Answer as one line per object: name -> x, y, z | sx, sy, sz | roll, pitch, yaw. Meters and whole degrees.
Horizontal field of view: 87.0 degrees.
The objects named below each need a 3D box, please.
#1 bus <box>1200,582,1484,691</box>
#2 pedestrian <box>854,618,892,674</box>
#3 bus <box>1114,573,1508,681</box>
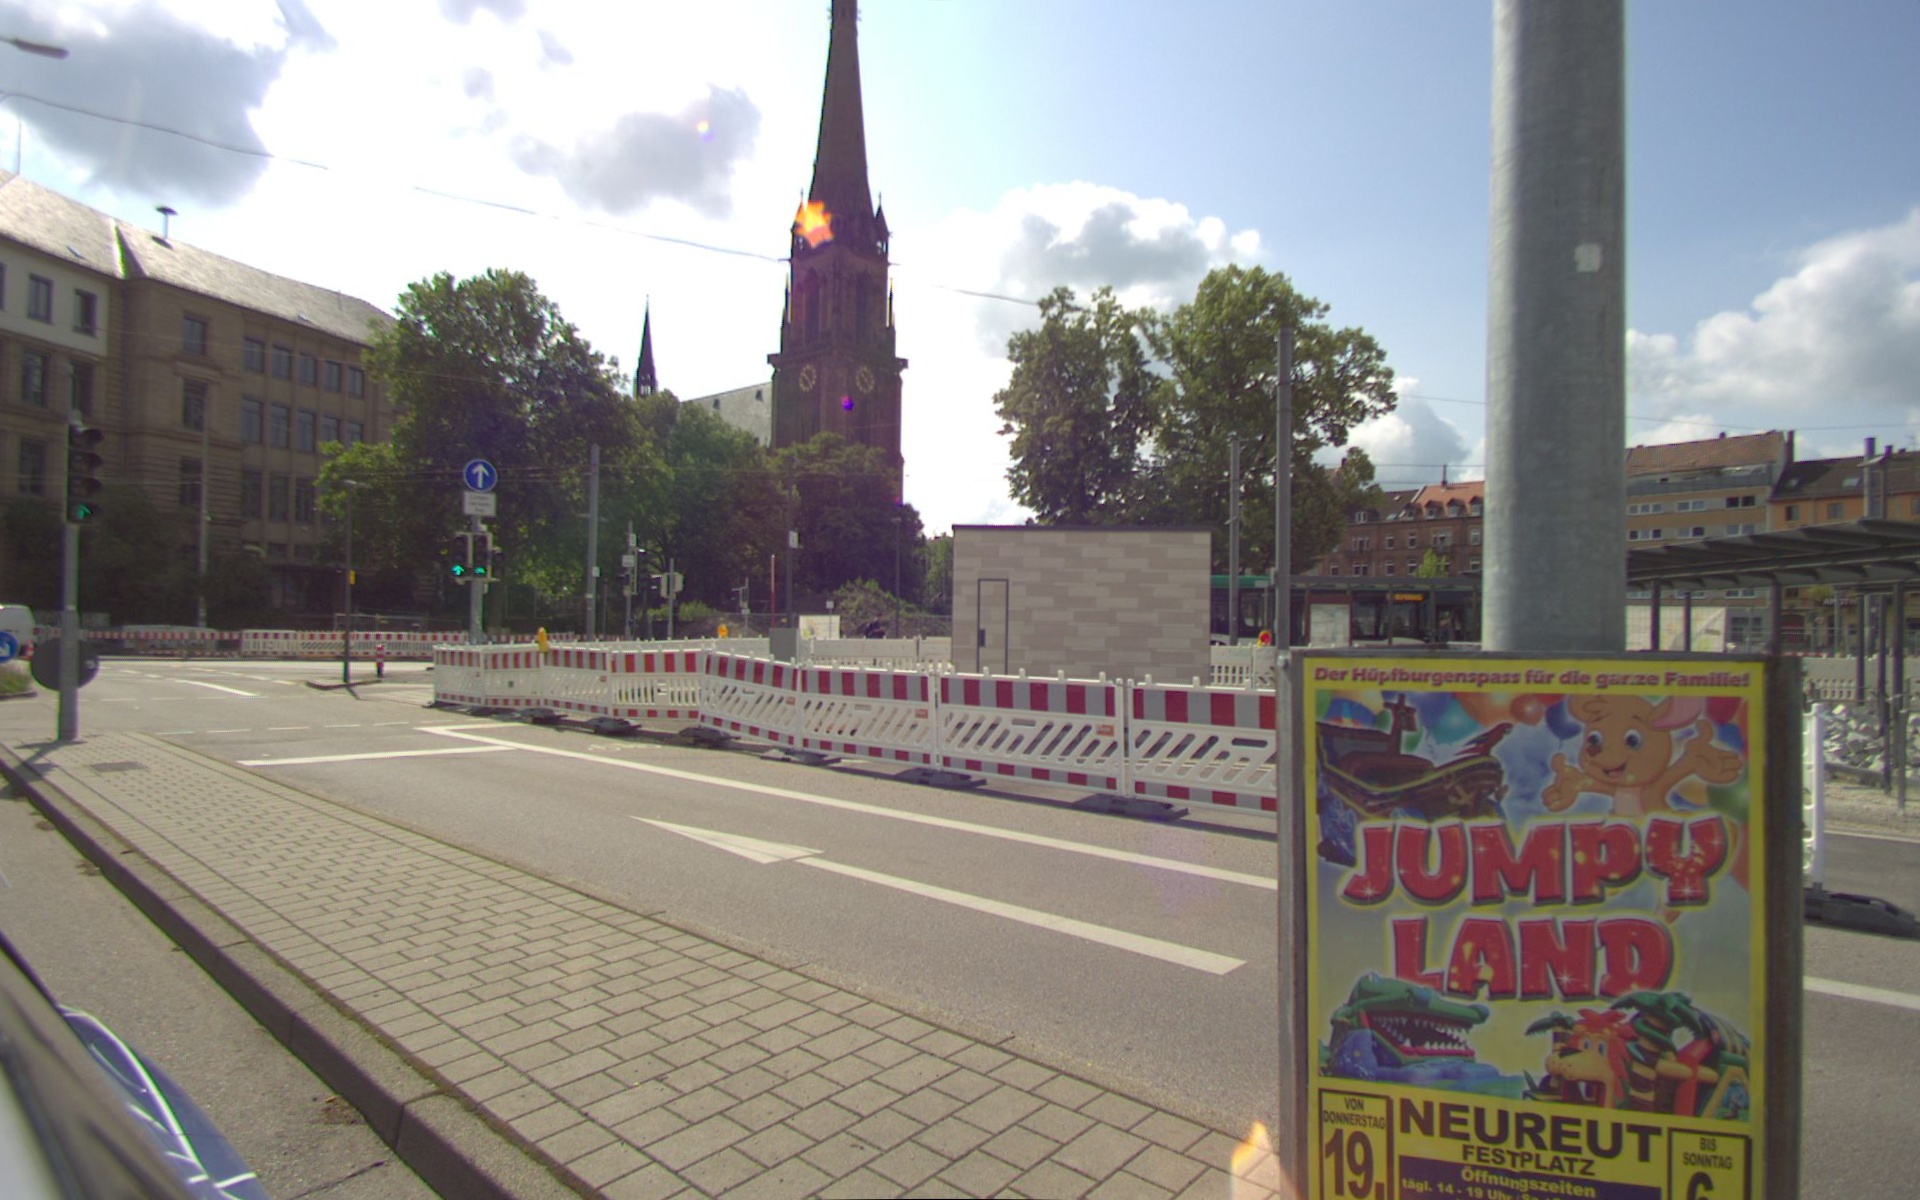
bus -> 11.374, 1.068, 30.734 | 7.669, 3.081, 2.369 | 1, -2, 7
pedestrian -> -2.735, 1.433, 31.766 | 0.834, 1.719, 1.202 | 0, -2, 14
bus -> 11.255, 0.875, 33.675 | 11.929, 3.287, 2.987 | 1, -2, 7
